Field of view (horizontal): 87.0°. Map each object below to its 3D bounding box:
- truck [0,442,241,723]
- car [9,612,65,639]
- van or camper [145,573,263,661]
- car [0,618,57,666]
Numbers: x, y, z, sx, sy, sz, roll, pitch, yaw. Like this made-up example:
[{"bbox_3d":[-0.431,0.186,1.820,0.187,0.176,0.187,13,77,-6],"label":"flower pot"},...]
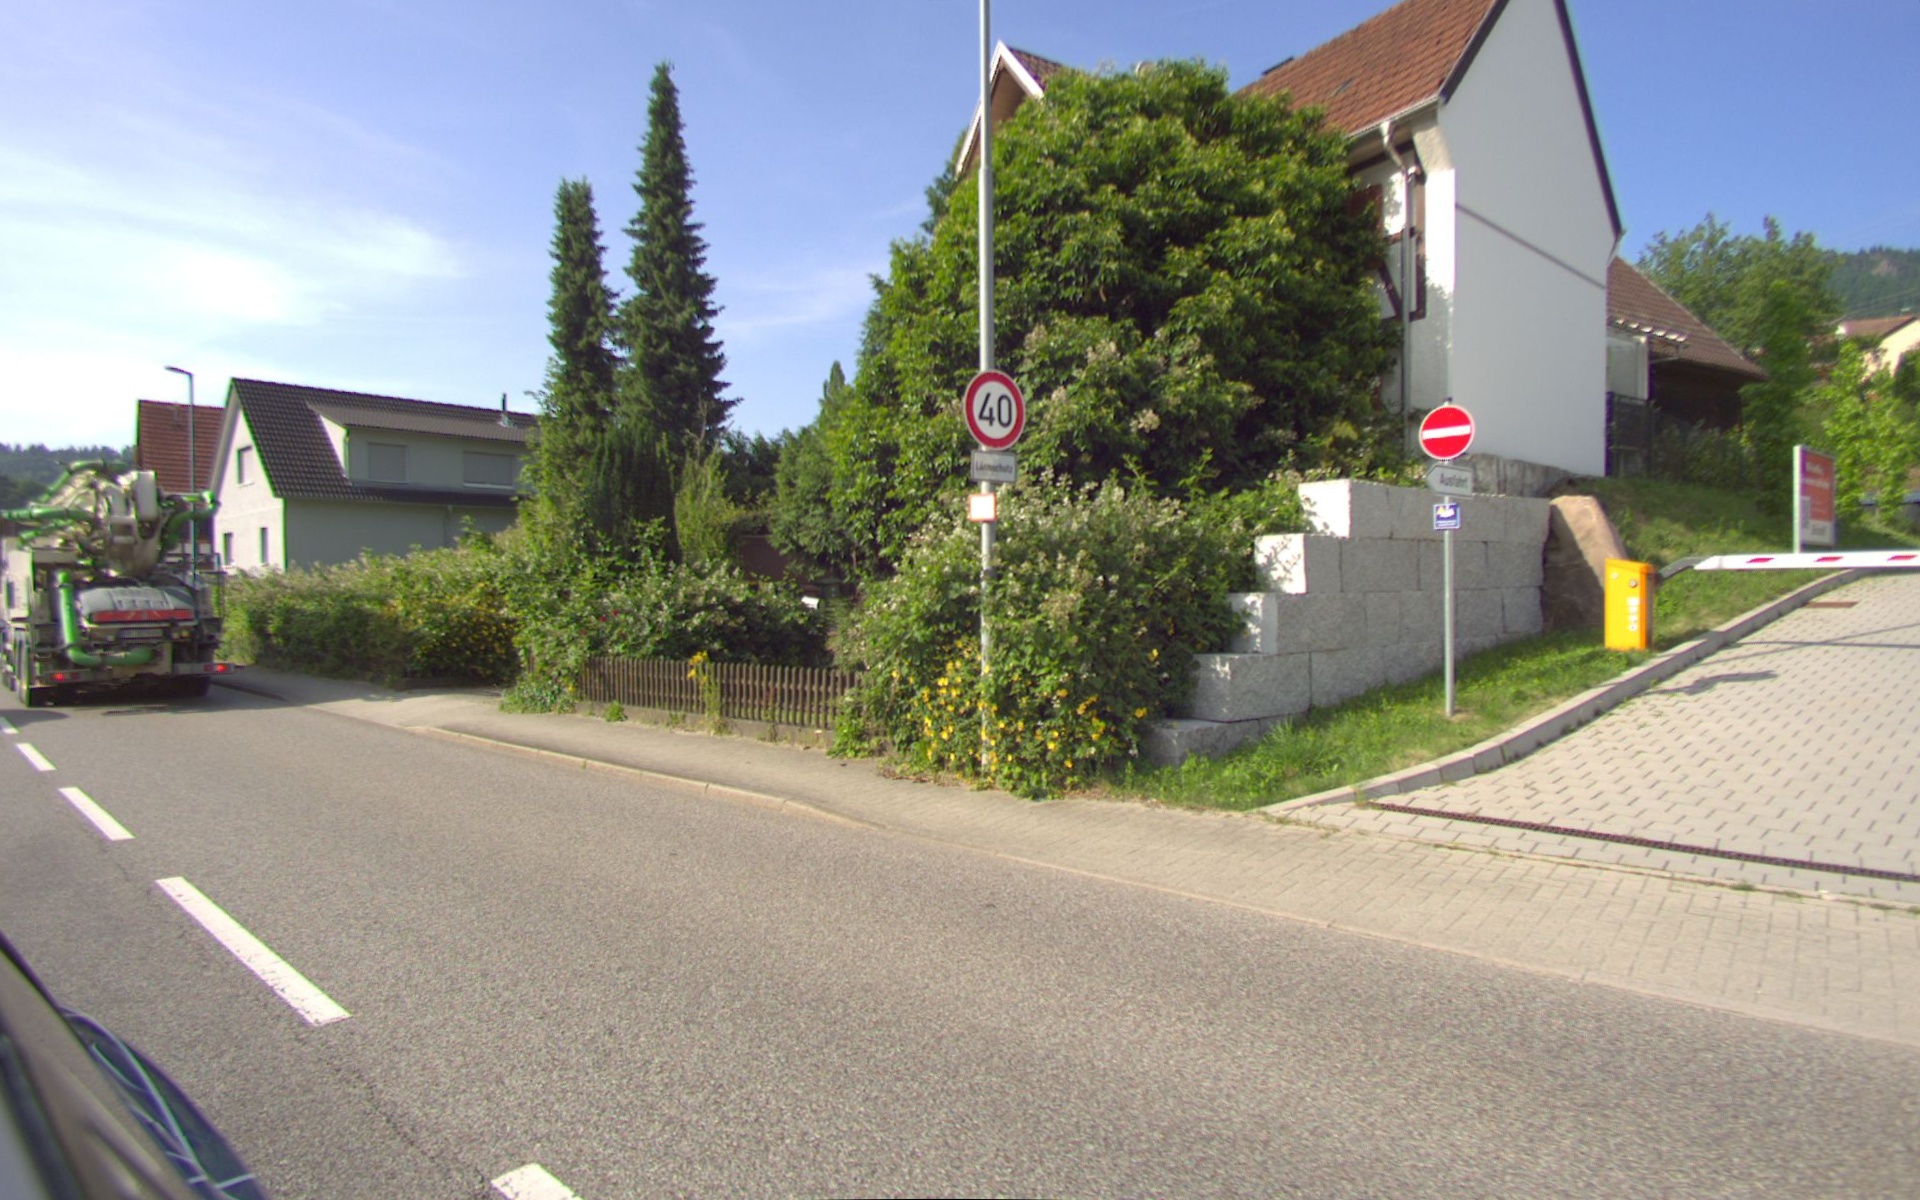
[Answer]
[{"bbox_3d":[-16.376,-0.188,19.115,11.309,3.961,2.549,-1,0,44],"label":"truck"},{"bbox_3d":[-57.048,1.566,62.547,4.231,1.530,1.866,-1,2,38],"label":"car"},{"bbox_3d":[-24.498,0.510,32.688,5.903,2.574,2.124,-1,0,44],"label":"van or camper"},{"bbox_3d":[-31.045,1.341,33.263,4.000,1.413,1.695,0,1,43],"label":"car"}]
